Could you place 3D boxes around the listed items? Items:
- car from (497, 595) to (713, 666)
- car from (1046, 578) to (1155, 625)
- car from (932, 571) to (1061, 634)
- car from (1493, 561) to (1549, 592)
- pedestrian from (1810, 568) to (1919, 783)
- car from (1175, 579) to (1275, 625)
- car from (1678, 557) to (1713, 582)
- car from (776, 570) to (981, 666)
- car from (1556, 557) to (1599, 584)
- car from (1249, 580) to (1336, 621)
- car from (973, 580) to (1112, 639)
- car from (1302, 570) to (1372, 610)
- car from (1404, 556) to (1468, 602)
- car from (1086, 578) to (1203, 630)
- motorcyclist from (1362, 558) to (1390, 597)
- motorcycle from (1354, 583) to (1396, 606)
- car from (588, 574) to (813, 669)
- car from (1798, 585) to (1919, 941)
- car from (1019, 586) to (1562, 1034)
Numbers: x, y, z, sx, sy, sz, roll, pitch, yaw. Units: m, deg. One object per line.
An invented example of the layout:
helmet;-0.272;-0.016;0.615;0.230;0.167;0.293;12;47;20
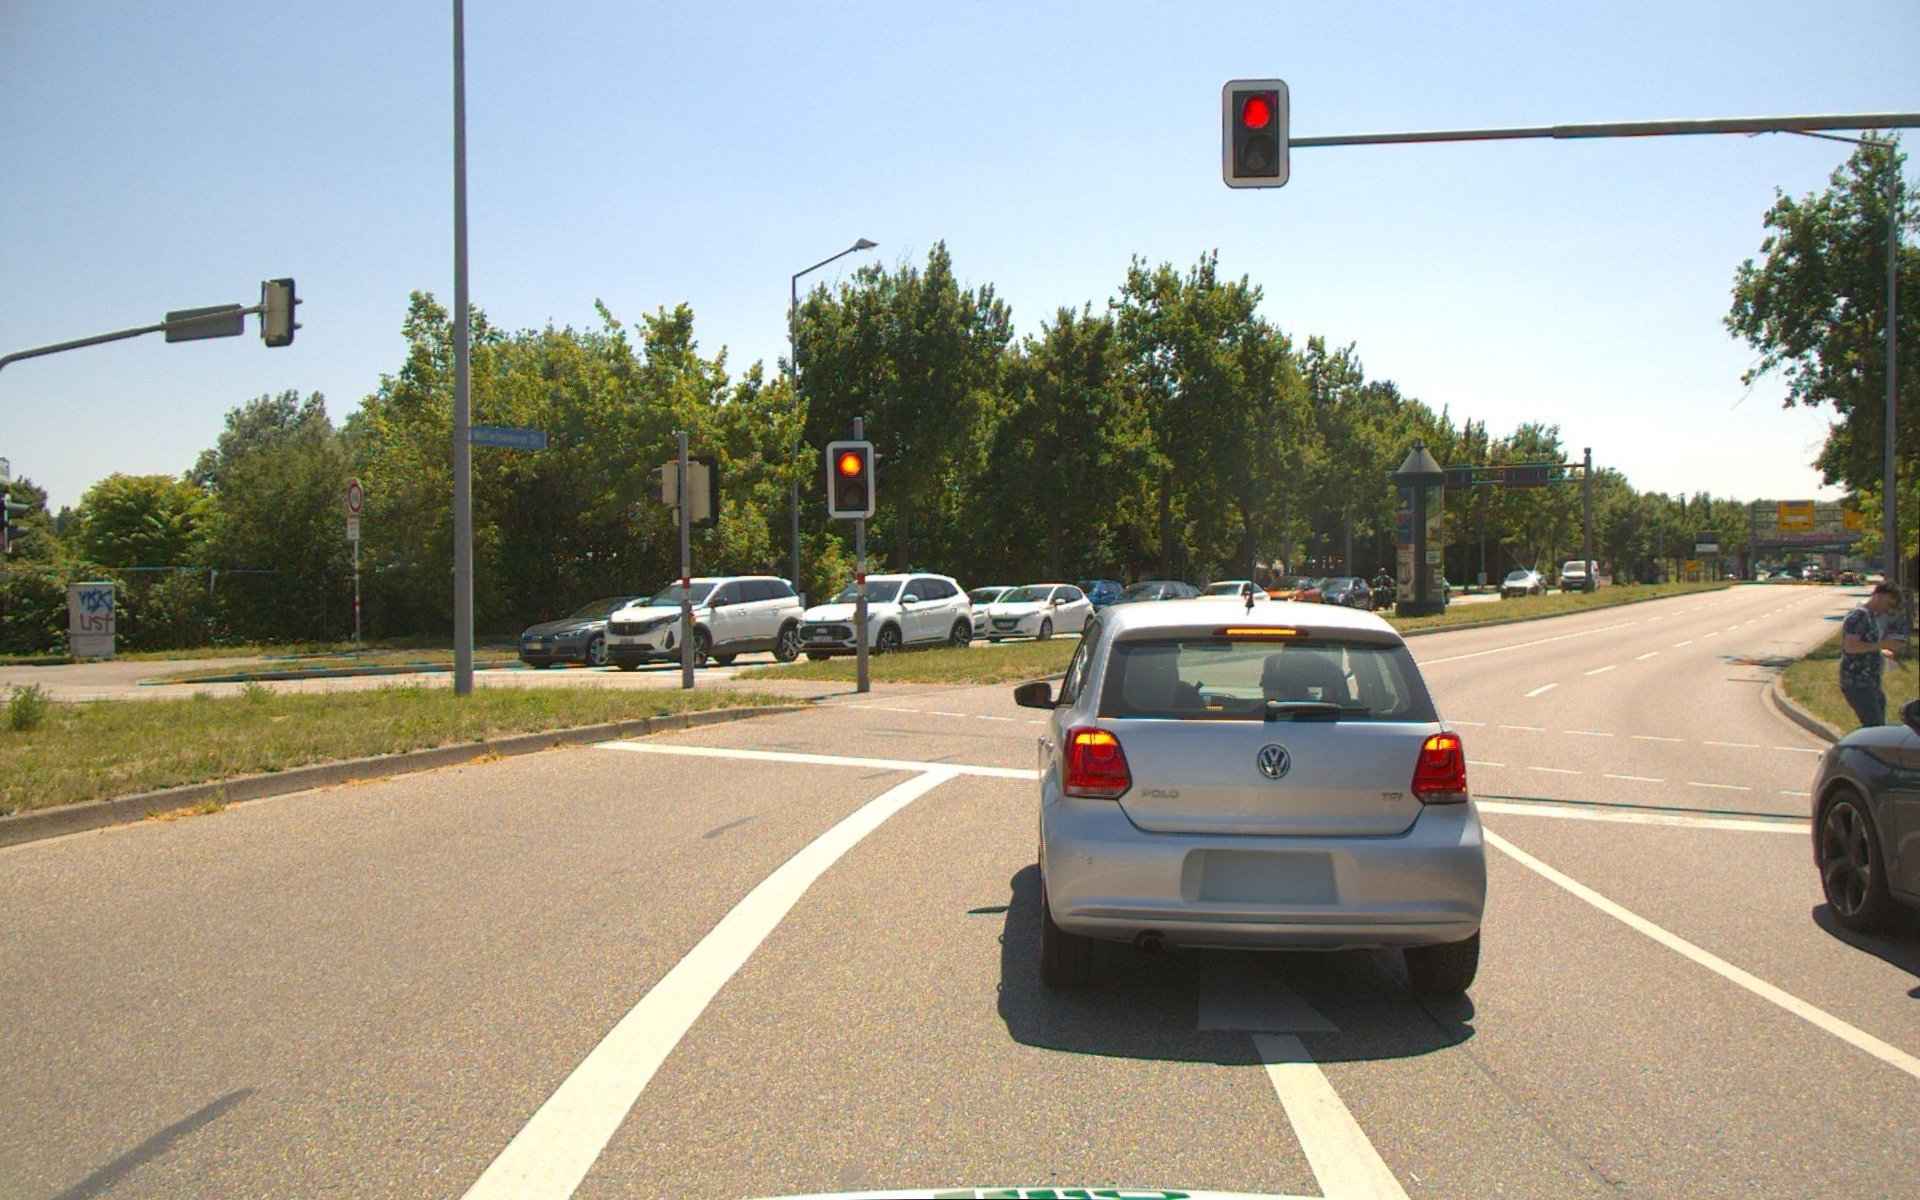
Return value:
car;-7.142;0.563;33.692;1.824;1.292;4.399;0;1;31
car;4.628;0.034;53.869;1.824;1.447;4.399;0;1;31
car;1.106;0.033;47.691;1.824;1.712;4.399;0;1;31
car;28.180;-1.196;82.979;1.933;1.514;3.992;0;1;30
pedestrian;7.410;0.591;13.308;0.936;1.666;0.755;-2;-1;31
car;8.892;0.044;55.207;1.824;1.447;4.399;0;1;31
car;52.418;-2.154;117.838;1.768;1.722;4.133;-2;-1;31
car;-1.471;0.280;31.810;1.824;1.712;4.399;0;1;31
car;37.324;-1.794;99.920;1.828;1.582;3.993;0;1;29
car;12.373;-0.021;61.375;1.824;1.447;4.399;0;1;31
car;2.244;0.210;43.725;1.824;1.447;4.399;0;1;31
car;14.979;-0.379;65.665;1.683;1.500;3.790;-2;0;29
car;22.206;-0.977;77.086;1.956;2.049;3.993;-2;-1;29
car;5.558;0.082;49.263;1.824;1.447;4.399;0;1;31
motorcyclist;17.749;-0.957;70.552;0.889;1.614;1.007;-2;-1;33
motorcycle;17.688;-0.233;70.419;0.879;0.969;2.808;-2;-1;33
car;-4.796;0.344;31.183;1.824;1.646;4.399;0;1;31
car;4.785;0.690;5.742;1.951;1.443;4.459;0;1;7
car;1.174;0.685;7.513;1.739;1.447;4.001;0;1;1
